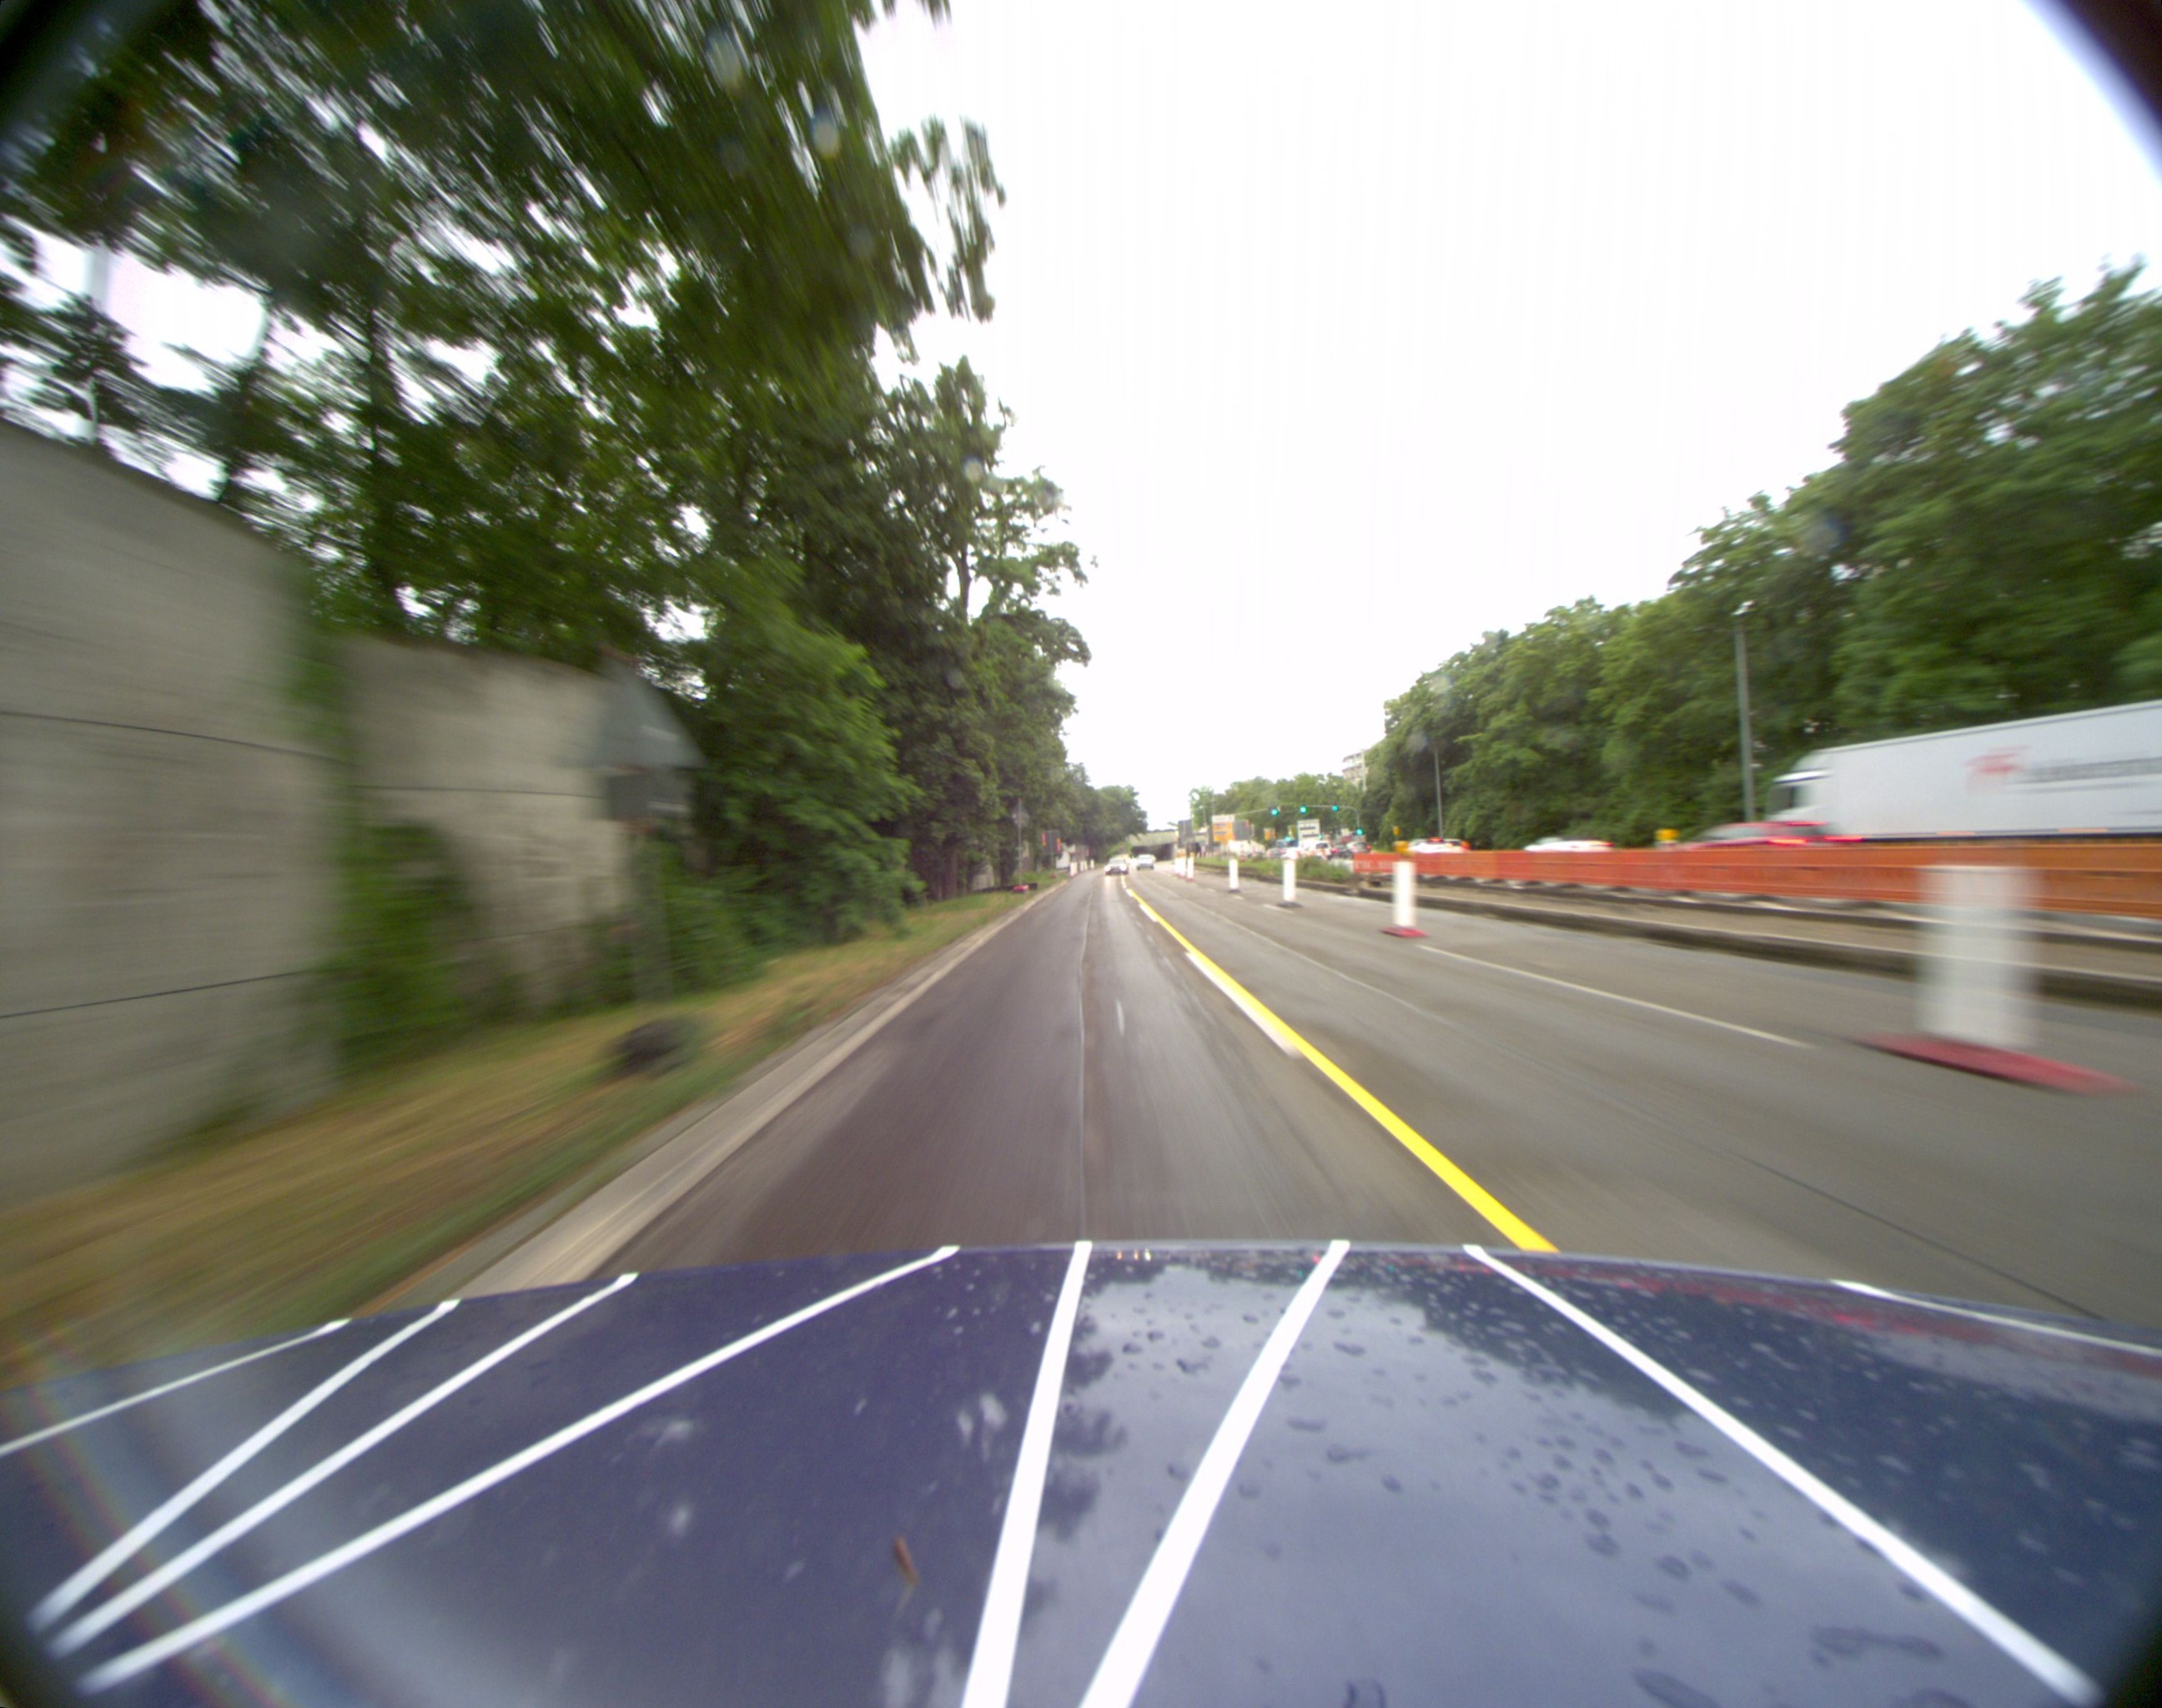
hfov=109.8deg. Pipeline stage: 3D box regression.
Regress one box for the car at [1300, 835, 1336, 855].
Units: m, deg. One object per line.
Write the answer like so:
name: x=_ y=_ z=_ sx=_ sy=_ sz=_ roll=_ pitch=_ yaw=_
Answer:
car: x=22.598 y=-0.822 z=72.619 sx=1.919 sy=1.771 sz=4.834 roll=-4 pitch=0 yaw=2

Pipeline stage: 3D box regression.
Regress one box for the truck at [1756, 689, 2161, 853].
truck: x=22.184 y=-1.681 z=18.439 sx=2.802 sy=3.130 sz=10.148 roll=-3 pitch=0 yaw=2

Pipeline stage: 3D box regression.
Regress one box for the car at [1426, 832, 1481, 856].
car: x=24.671 y=-0.650 z=50.469 sx=1.795 sy=1.417 sz=3.896 roll=-3 pitch=0 yaw=2

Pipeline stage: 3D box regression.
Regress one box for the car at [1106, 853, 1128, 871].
car: x=3.196 y=0.689 z=66.312 sx=1.697 sy=1.393 sz=3.826 roll=-3 pitch=0 yaw=5

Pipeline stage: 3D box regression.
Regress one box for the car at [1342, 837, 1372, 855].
car: x=25.426 y=-0.775 z=70.087 sx=1.675 sy=1.514 sz=3.791 roll=-4 pitch=0 yaw=6

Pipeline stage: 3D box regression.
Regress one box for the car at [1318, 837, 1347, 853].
car: x=25.852 y=-0.932 z=78.263 sx=1.797 sy=1.514 sz=4.636 roll=-4 pitch=0 yaw=6

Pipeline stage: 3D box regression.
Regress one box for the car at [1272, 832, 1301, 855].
car: x=24.577 y=-1.201 z=90.936 sx=2.200 sy=2.376 sz=6.247 roll=-4 pitch=-1 yaw=5

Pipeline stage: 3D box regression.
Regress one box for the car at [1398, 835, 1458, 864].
car: x=20.834 y=-0.261 z=45.789 sx=1.839 sy=1.541 sz=4.040 roll=-3 pitch=0 yaw=2

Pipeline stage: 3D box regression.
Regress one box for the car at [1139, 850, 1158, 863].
car: x=7.376 y=0.242 z=83.166 sx=1.696 sy=1.300 sz=3.827 roll=-3 pitch=0 yaw=10

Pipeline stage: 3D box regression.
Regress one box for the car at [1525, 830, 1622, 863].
car: x=23.103 y=-0.357 z=35.854 sx=1.814 sy=1.371 sz=4.369 roll=-3 pitch=0 yaw=2

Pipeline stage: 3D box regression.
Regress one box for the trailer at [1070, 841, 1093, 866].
trailer: x=0.143 y=-0.118 z=112.377 sx=2.312 sy=3.568 sz=5.963 roll=-2 pitch=1 yaw=10

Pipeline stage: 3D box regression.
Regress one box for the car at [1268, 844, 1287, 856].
car: x=20.568 y=-0.447 z=79.599 sx=1.432 sy=1.193 sz=3.301 roll=-4 pitch=0 yaw=6

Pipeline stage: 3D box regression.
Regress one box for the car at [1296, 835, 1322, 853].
car: x=29.032 y=-1.236 z=96.932 sx=2.039 sy=1.962 sz=4.992 roll=-4 pitch=-1 yaw=5

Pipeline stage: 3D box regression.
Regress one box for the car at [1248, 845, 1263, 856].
car: x=22.071 y=-0.411 z=96.100 sx=1.552 sy=1.193 sz=4.649 roll=-4 pitch=0 yaw=10

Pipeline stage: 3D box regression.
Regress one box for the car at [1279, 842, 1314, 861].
car: x=18.719 y=-0.218 z=66.091 sx=1.860 sy=1.477 sz=4.679 roll=-3 pitch=0 yaw=3

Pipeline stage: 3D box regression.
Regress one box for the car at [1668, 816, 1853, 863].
car: x=19.439 y=-0.388 z=22.040 sx=1.609 sy=1.145 sz=4.283 roll=-3 pitch=0 yaw=2
